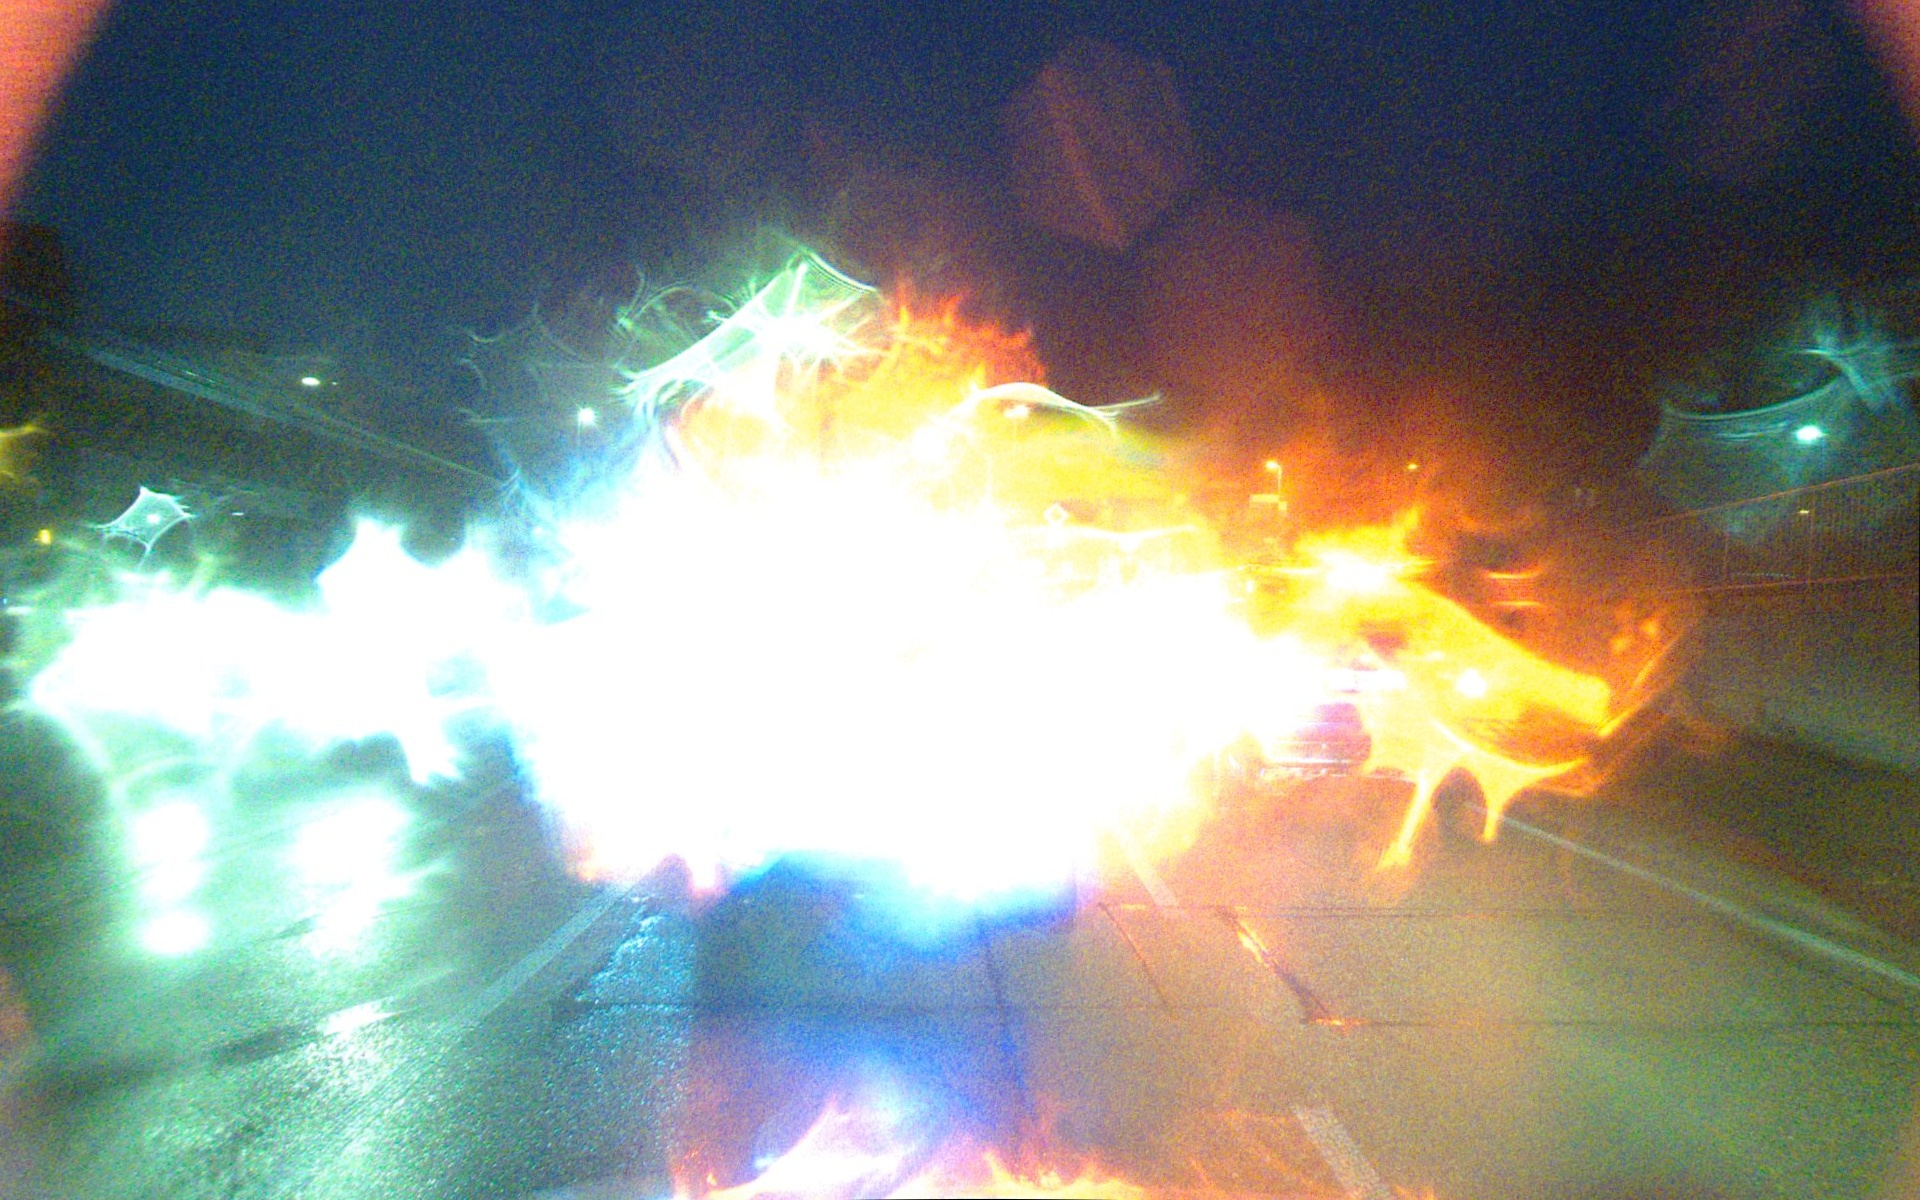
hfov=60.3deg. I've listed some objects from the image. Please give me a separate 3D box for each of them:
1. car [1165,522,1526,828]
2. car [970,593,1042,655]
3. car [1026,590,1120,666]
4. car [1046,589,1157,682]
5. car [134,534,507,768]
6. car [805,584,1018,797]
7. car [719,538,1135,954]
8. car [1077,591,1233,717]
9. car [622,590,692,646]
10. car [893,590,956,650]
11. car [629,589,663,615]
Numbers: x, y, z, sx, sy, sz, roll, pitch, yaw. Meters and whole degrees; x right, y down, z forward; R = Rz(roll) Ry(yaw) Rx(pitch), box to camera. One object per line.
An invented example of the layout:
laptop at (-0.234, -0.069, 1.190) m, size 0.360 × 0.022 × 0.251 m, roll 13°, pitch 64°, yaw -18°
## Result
car at (2.802, 0.473, 13.011) m, size 1.902 × 2.006 × 4.218 m, roll 0°, pitch 1°, yaw 1°
car at (1.127, 0.595, 41.847) m, size 1.629 × 1.475 × 4.048 m, roll 0°, pitch 0°, yaw -1°
car at (2.324, 0.544, 34.921) m, size 1.629 × 1.475 × 4.049 m, roll 0°, pitch 1°, yaw -1°
car at (2.356, 0.572, 28.386) m, size 1.629 × 1.475 × 4.050 m, roll 0°, pitch 0°, yaw 1°
car at (-5.973, 0.414, 16.153) m, size 1.953 × 1.945 × 4.741 m, roll 0°, pitch 0°, yaw -2°
car at (-0.396, 0.705, 15.082) m, size 1.674 × 1.666 × 3.730 m, roll -1°, pitch 1°, yaw 0°
car at (-0.156, 0.599, 8.601) m, size 1.660 × 1.658 × 3.852 m, roll 1°, pitch 0°, yaw -1°
car at (2.459, 0.627, 21.727) m, size 1.731 × 1.475 × 4.219 m, roll 0°, pitch 1°, yaw 2°
car at (-8.480, 0.479, 46.525) m, size 1.687 × 1.468 × 3.733 m, roll 1°, pitch 0°, yaw -7°
car at (-1.088, 0.564, 49.283) m, size 1.675 × 1.666 × 3.727 m, roll -1°, pitch 1°, yaw -4°
car at (-18.140, 0.108, 95.605) m, size 1.687 × 1.468 × 3.733 m, roll 1°, pitch 0°, yaw -7°
